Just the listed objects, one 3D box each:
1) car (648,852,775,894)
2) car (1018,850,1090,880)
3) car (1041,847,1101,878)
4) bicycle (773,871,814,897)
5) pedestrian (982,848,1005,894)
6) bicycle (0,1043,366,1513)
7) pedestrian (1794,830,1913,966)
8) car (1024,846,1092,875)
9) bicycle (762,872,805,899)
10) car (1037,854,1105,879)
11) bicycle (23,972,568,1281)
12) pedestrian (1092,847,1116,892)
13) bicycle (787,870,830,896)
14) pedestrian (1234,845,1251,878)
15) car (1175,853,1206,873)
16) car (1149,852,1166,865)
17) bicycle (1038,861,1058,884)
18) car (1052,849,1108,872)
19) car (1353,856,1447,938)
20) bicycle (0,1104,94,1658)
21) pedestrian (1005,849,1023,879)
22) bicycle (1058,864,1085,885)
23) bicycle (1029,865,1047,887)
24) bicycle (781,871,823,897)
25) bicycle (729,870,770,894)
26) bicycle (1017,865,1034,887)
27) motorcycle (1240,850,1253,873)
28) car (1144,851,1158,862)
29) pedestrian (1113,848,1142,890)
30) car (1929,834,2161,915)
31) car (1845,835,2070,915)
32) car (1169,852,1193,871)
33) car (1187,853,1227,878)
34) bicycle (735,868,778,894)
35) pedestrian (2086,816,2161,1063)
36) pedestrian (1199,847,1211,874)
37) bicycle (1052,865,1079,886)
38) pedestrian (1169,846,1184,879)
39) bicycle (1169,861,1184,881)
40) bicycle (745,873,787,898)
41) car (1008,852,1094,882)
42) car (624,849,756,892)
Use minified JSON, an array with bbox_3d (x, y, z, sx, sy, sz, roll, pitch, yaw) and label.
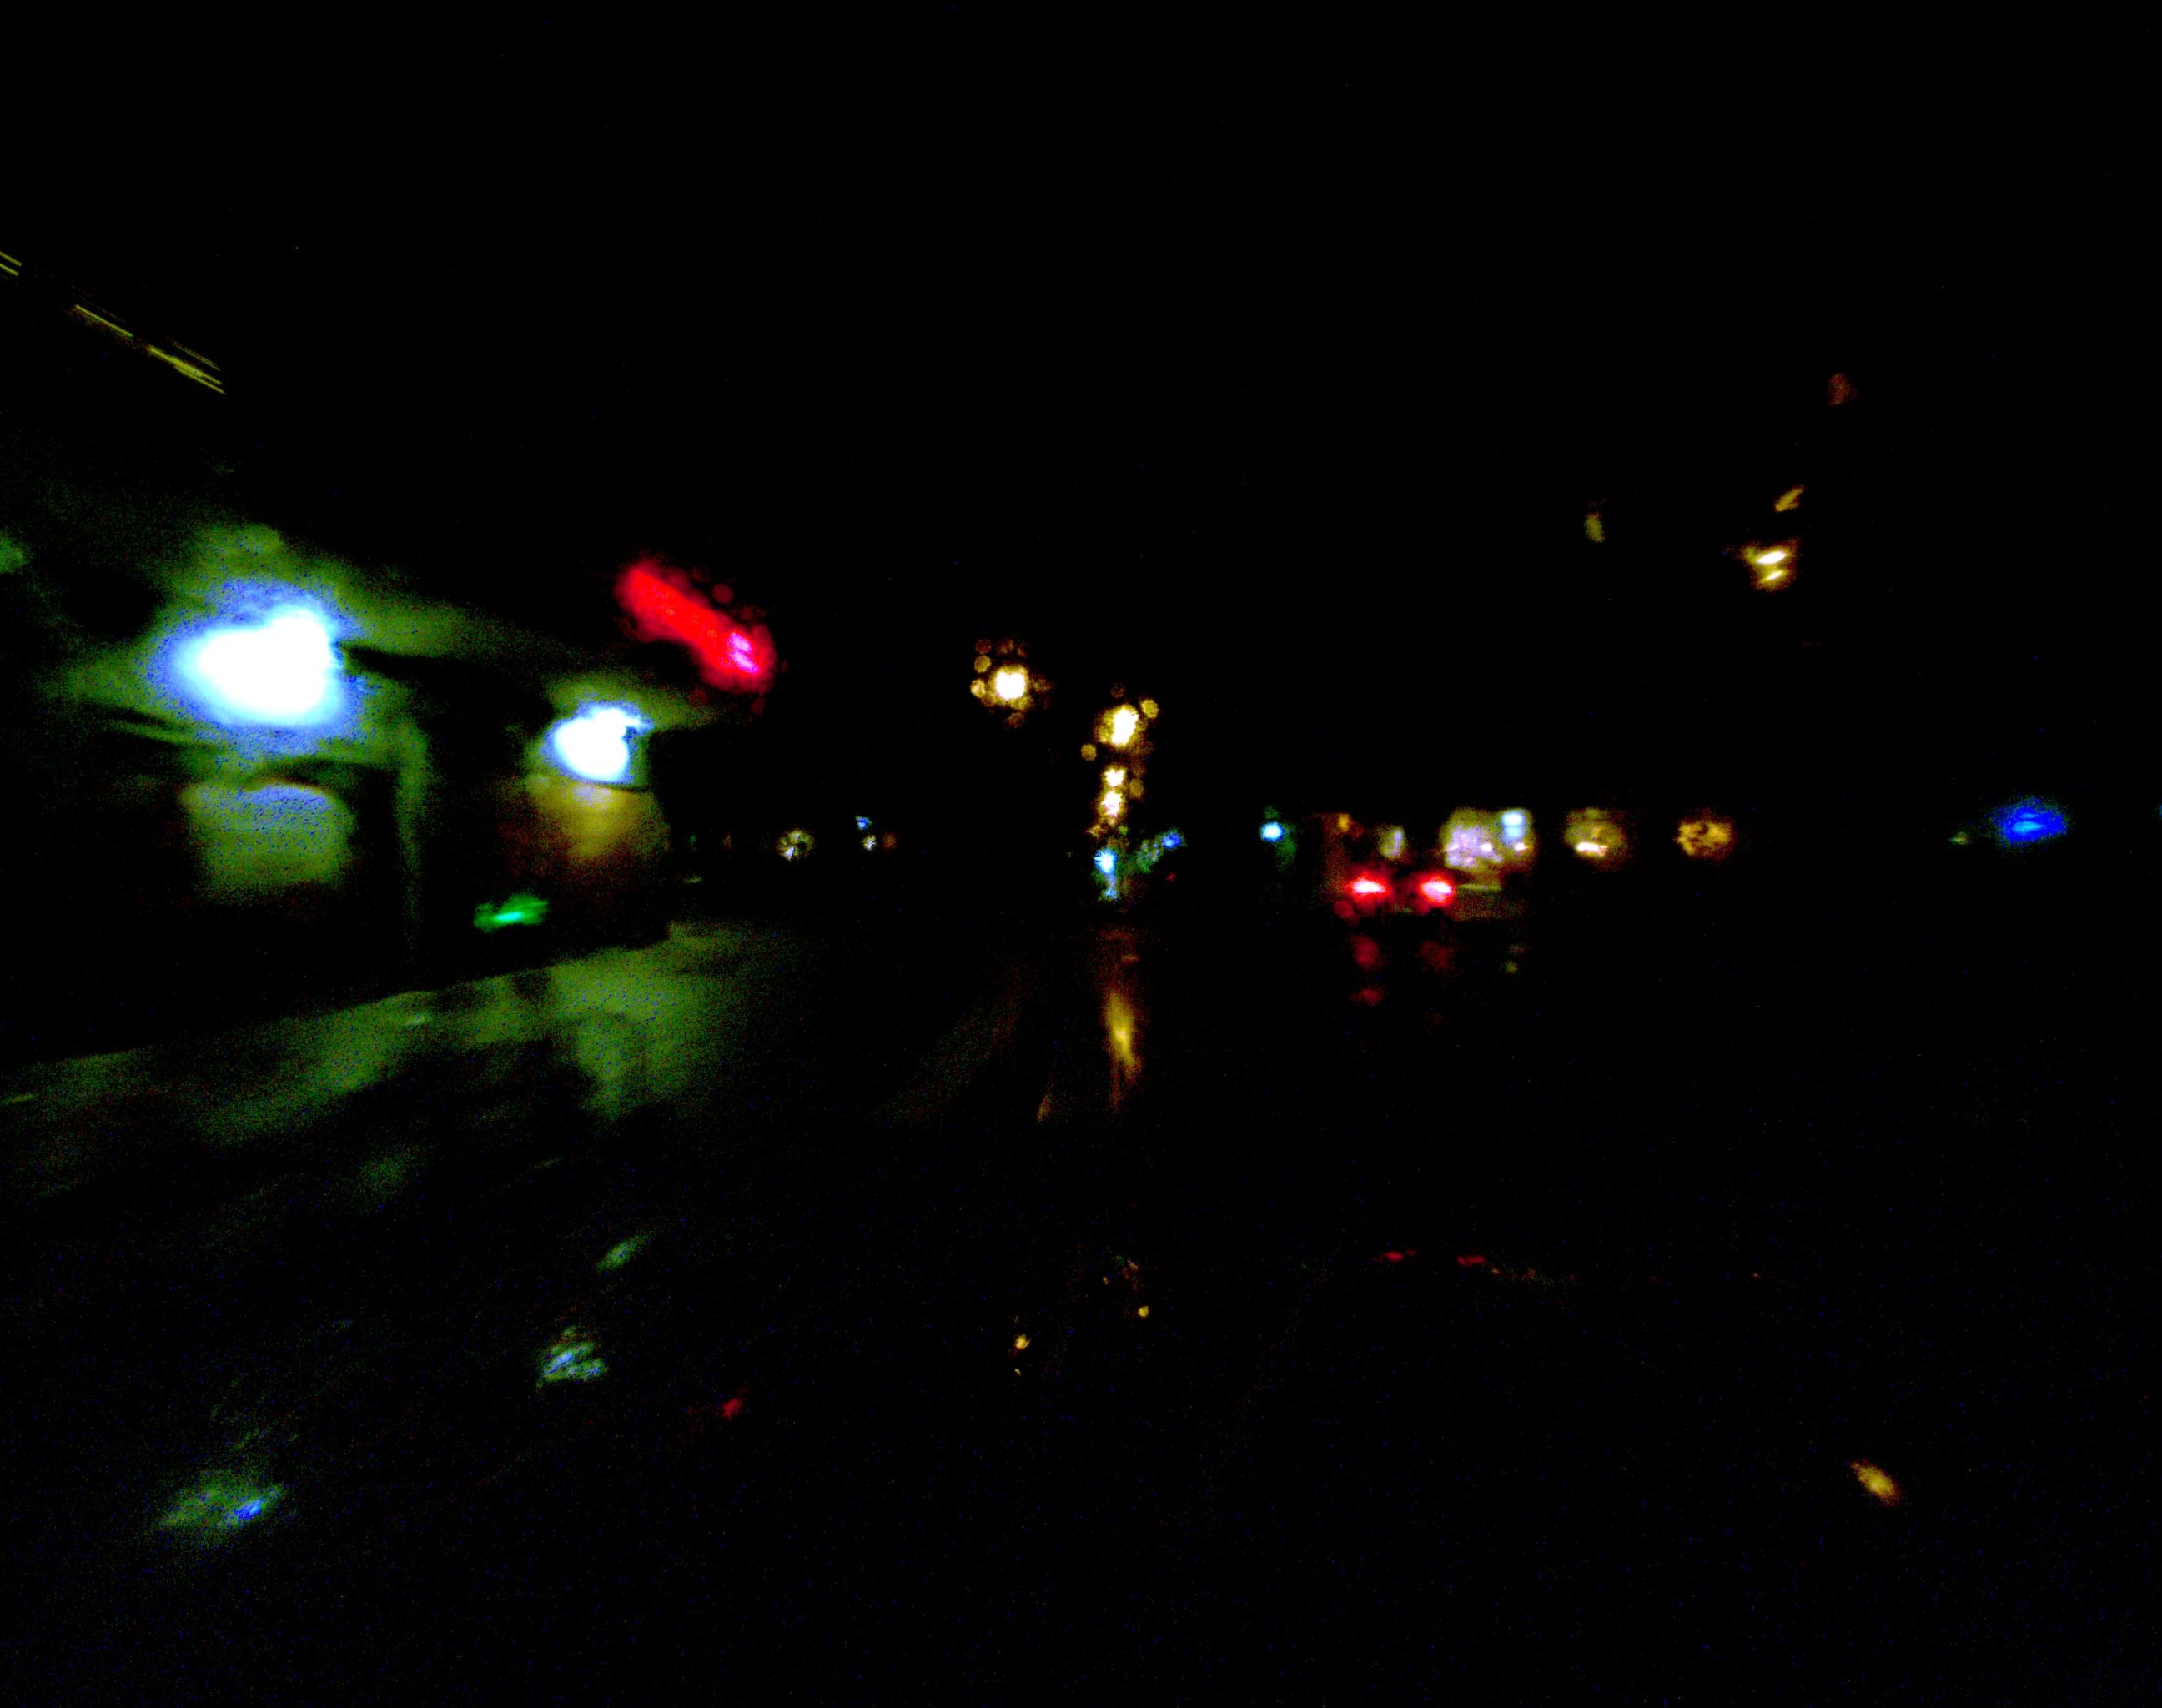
[{"bbox_3d":[-16.927,0.820,35.165,1.995,1.752,5.105,-2,0,25],"label":"car"},{"bbox_3d":[-1.543,0.640,44.048,3.747,1.702,1.767,1,0,-32],"label":"car"},{"bbox_3d":[-0.707,0.575,52.153,3.747,2.017,1.717,1,0,-33],"label":"car"},{"bbox_3d":[-11.856,1.223,31.393,0.378,1.003,1.813,-1,0,27],"label":"bicycle"},{"bbox_3d":[-3.528,0.683,30.766,0.676,1.822,1.078,-2,1,4],"label":"pedestrian"},{"bbox_3d":[-3.094,1.123,2.124,1.766,1.073,0.435,-1,0,0],"label":"bicycle"},{"bbox_3d":[11.079,0.600,10.940,0.797,1.847,0.947,1,1,15],"label":"pedestrian"},{"bbox_3d":[-1.405,0.407,46.530,3.800,1.702,1.744,1,0,-32],"label":"car"},{"bbox_3d":[-12.377,1.296,31.687,0.402,1.003,1.813,-2,1,27],"label":"bicycle"},{"bbox_3d":[-0.648,0.813,49.635,4.080,1.588,1.829,1,0,-32],"label":"car"},{"bbox_3d":[-3.155,1.080,3.129,1.787,1.118,0.435,0,0,0],"label":"bicycle"},{"bbox_3d":[0.962,0.659,32.187,0.958,1.852,1.415,-1,0,1],"label":"pedestrian"},{"bbox_3d":[-10.951,1.152,30.606,0.454,1.003,1.813,-1,0,27],"label":"bicycle"},{"bbox_3d":[8.831,0.408,41.485,0.827,1.761,0.601,-2,1,14],"label":"pedestrian"},{"bbox_3d":[8.368,0.653,58.276,1.720,1.470,4.159,-1,0,-1],"label":"car"},{"bbox_3d":[9.694,0.554,96.844,1.851,1.470,3.735,-2,0,2],"label":"car"},{"bbox_3d":[-1.669,0.928,38.361,0.336,1.021,1.641,-2,4,-28],"label":"bicycle"},{"bbox_3d":[-0.054,0.612,69.657,4.719,1.968,1.975,1,0,-27],"label":"car"},{"bbox_3d":[6.616,0.796,16.091,1.564,1.419,4.074,0,1,19],"label":"car"},{"bbox_3d":[-3.124,1.085,1.491,1.766,1.118,0.435,3,0,0],"label":"bicycle"},{"bbox_3d":[-4.127,0.612,46.635,0.789,1.807,0.812,1,2,27],"label":"pedestrian"},{"bbox_3d":[-0.487,1.034,38.937,0.337,1.020,1.641,0,-1,-44],"label":"bicycle"},{"bbox_3d":[-2.184,1.075,38.192,0.336,1.086,1.643,0,-1,-24],"label":"bicycle"},{"bbox_3d":[-11.400,1.205,31.106,0.402,1.003,1.813,-1,0,27],"label":"bicycle"},{"bbox_3d":[-14.393,1.218,33.037,0.402,1.003,1.781,2,0,27],"label":"bicycle"},{"bbox_3d":[-2.776,1.103,37.930,0.336,1.020,1.642,0,1,-24],"label":"bicycle"},{"bbox_3d":[10.691,0.463,49.132,0.538,1.462,1.458,-2,0,2],"label":"motorcycle"},{"bbox_3d":[10.505,0.412,114.028,1.851,1.571,3.735,-2,0,2],"label":"car"},{"bbox_3d":[2.072,0.654,33.844,0.876,1.823,0.986,0,1,38],"label":"pedestrian"},{"bbox_3d":[27.232,0.508,21.588,1.998,2.002,4.001,-2,1,6],"label":"car"},{"bbox_3d":[24.767,0.529,21.741,1.998,2.002,4.001,-2,1,6],"label":"car"},{"bbox_3d":[8.372,0.643,63.831,1.720,1.470,3.787,-2,0,4],"label":"car"},{"bbox_3d":[7.909,0.686,47.987,1.851,1.470,5.031,-1,0,2],"label":"car"},{"bbox_3d":[-13.953,1.171,32.723,0.402,1.003,1.813,-2,1,27],"label":"bicycle"},{"bbox_3d":[8.076,0.601,5.285,0.805,1.756,1.016,-2,1,8],"label":"pedestrian"},{"bbox_3d":[10.429,0.513,63.956,0.801,2.228,1.116,-1,0,1],"label":"pedestrian"},{"bbox_3d":[-0.799,1.080,38.645,0.337,1.020,1.641,0,2,-42],"label":"bicycle"},{"bbox_3d":[5.373,0.479,42.791,0.714,1.801,1.126,0,0,2],"label":"pedestrian"},{"bbox_3d":[5.373,0.950,42.761,0.714,1.053,1.802,0,0,3],"label":"bicycle"},{"bbox_3d":[-13.422,1.345,32.438,0.402,1.003,1.813,-1,0,27],"label":"bicycle"},{"bbox_3d":[-1.599,0.690,41.101,4.269,1.564,1.768,1,0,-26],"label":"car"},{"bbox_3d":[-18.725,0.727,36.755,1.995,1.879,5.557,-2,0,25],"label":"car"}]
